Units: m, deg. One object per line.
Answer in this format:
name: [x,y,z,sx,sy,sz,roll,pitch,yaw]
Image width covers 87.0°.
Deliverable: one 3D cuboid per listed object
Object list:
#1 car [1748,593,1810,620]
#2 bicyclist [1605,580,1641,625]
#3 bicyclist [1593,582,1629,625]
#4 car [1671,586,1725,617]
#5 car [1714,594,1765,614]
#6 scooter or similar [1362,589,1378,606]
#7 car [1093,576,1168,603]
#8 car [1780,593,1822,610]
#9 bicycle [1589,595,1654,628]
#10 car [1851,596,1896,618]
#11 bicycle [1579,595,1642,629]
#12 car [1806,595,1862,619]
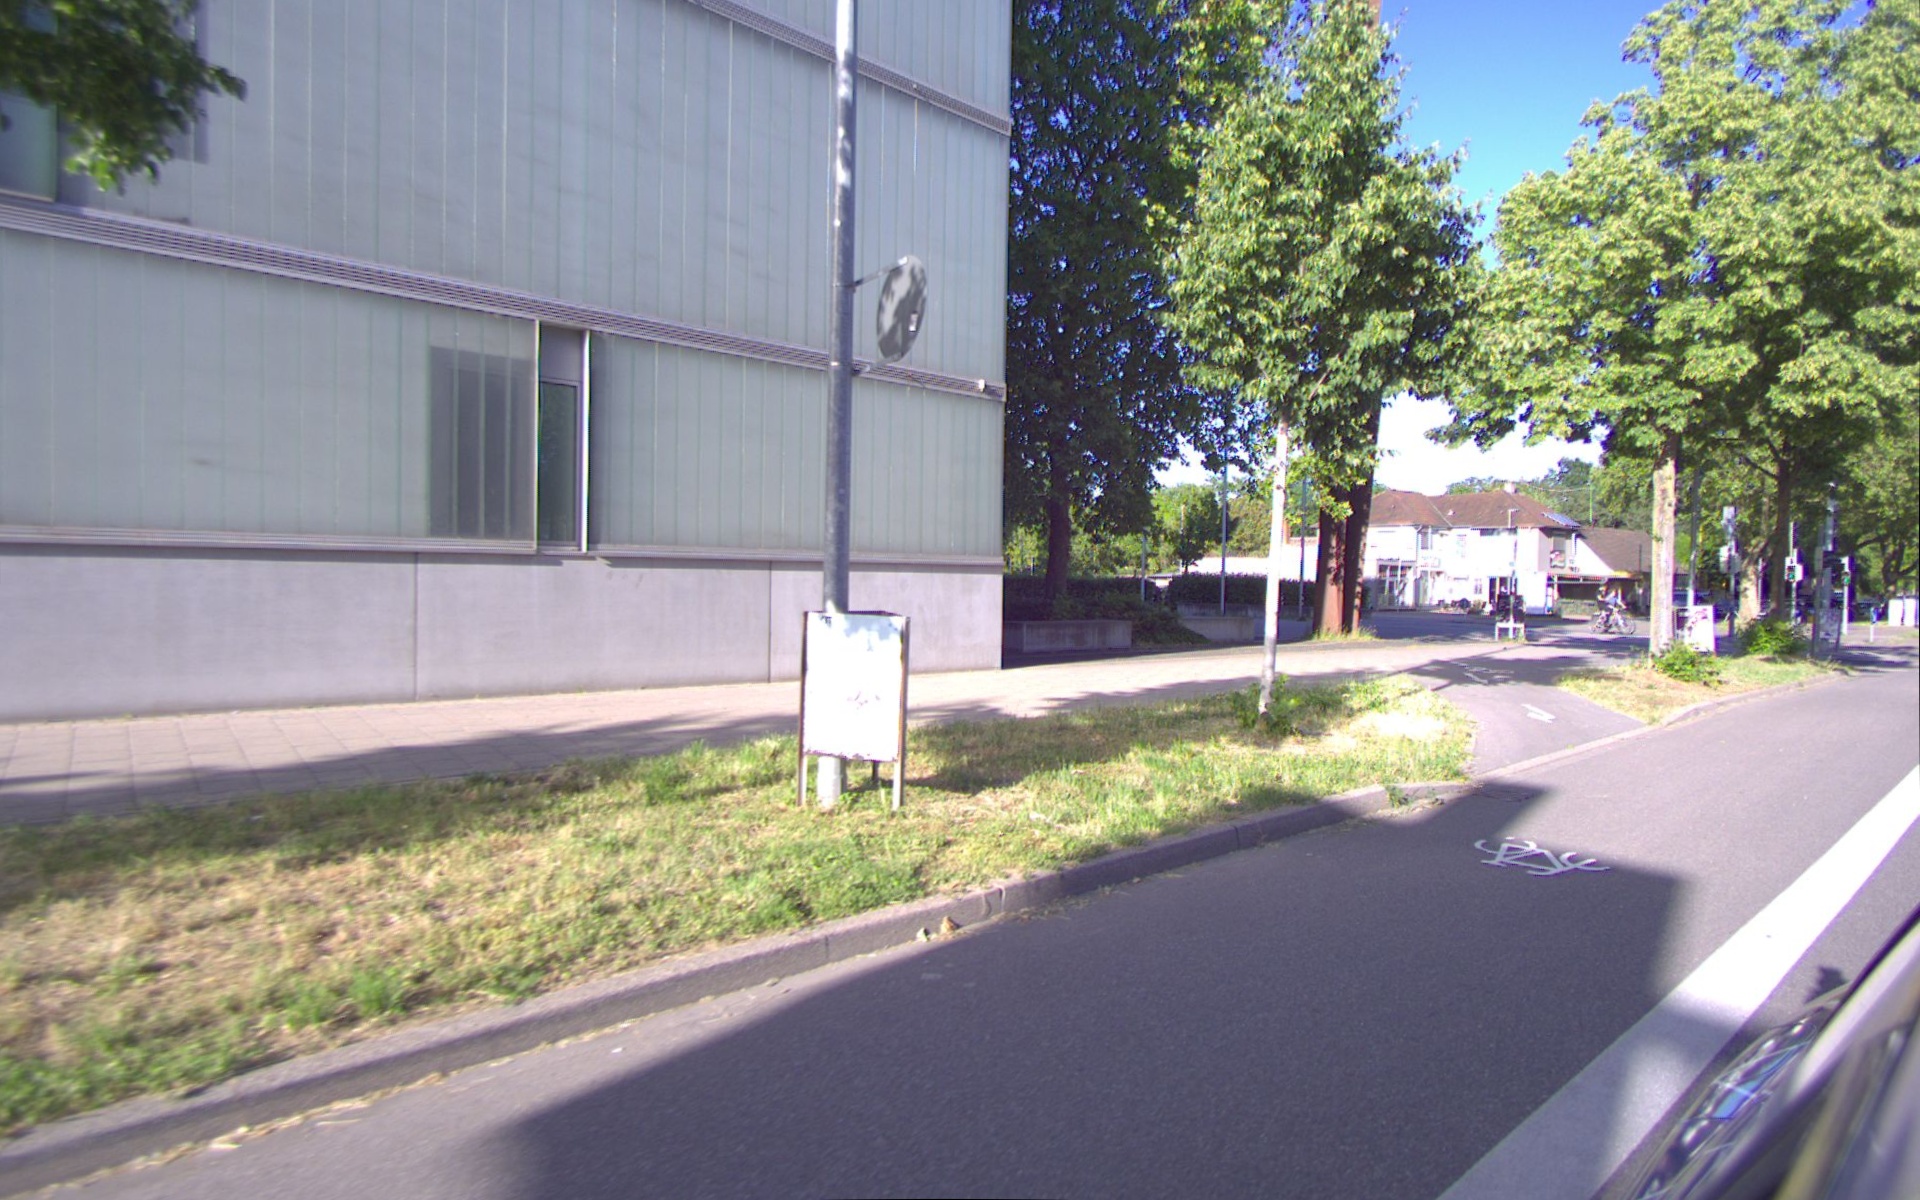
car: [47.188,0.335,58.287,3.963,1.483,1.899,0,1,-38]
bicyclist: [26.367,0.087,40.259,0.815,1.759,0.878,1,1,-29]
bicyclist: [25.581,0.131,39.794,0.777,1.674,0.878,1,1,-29]
car: [53.812,0.081,73.778,4.978,2.061,1.899,0,3,-39]
car: [61.437,0.318,79.728,4.820,1.504,1.900,0,1,-36]
scooter or similar: [29.158,-0.158,72.020,0.995,1.178,0.261,1,1,7]
car: [10.069,-0.627,59.921,3.917,1.484,2.004,1,0,-11]
car: [76.220,0.121,91.705,4.568,1.548,1.999,0,1,-37]
bicycle: [26.340,0.449,40.343,0.540,1.218,2.107,1,1,-29]
car: [65.482,0.449,72.550,3.979,1.504,1.897,0,1,-41]
bicycle: [25.573,0.447,39.831,0.540,1.218,2.108,1,1,-26]
car: [57.749,0.463,66.817,4.265,1.507,1.900,0,1,-36]
